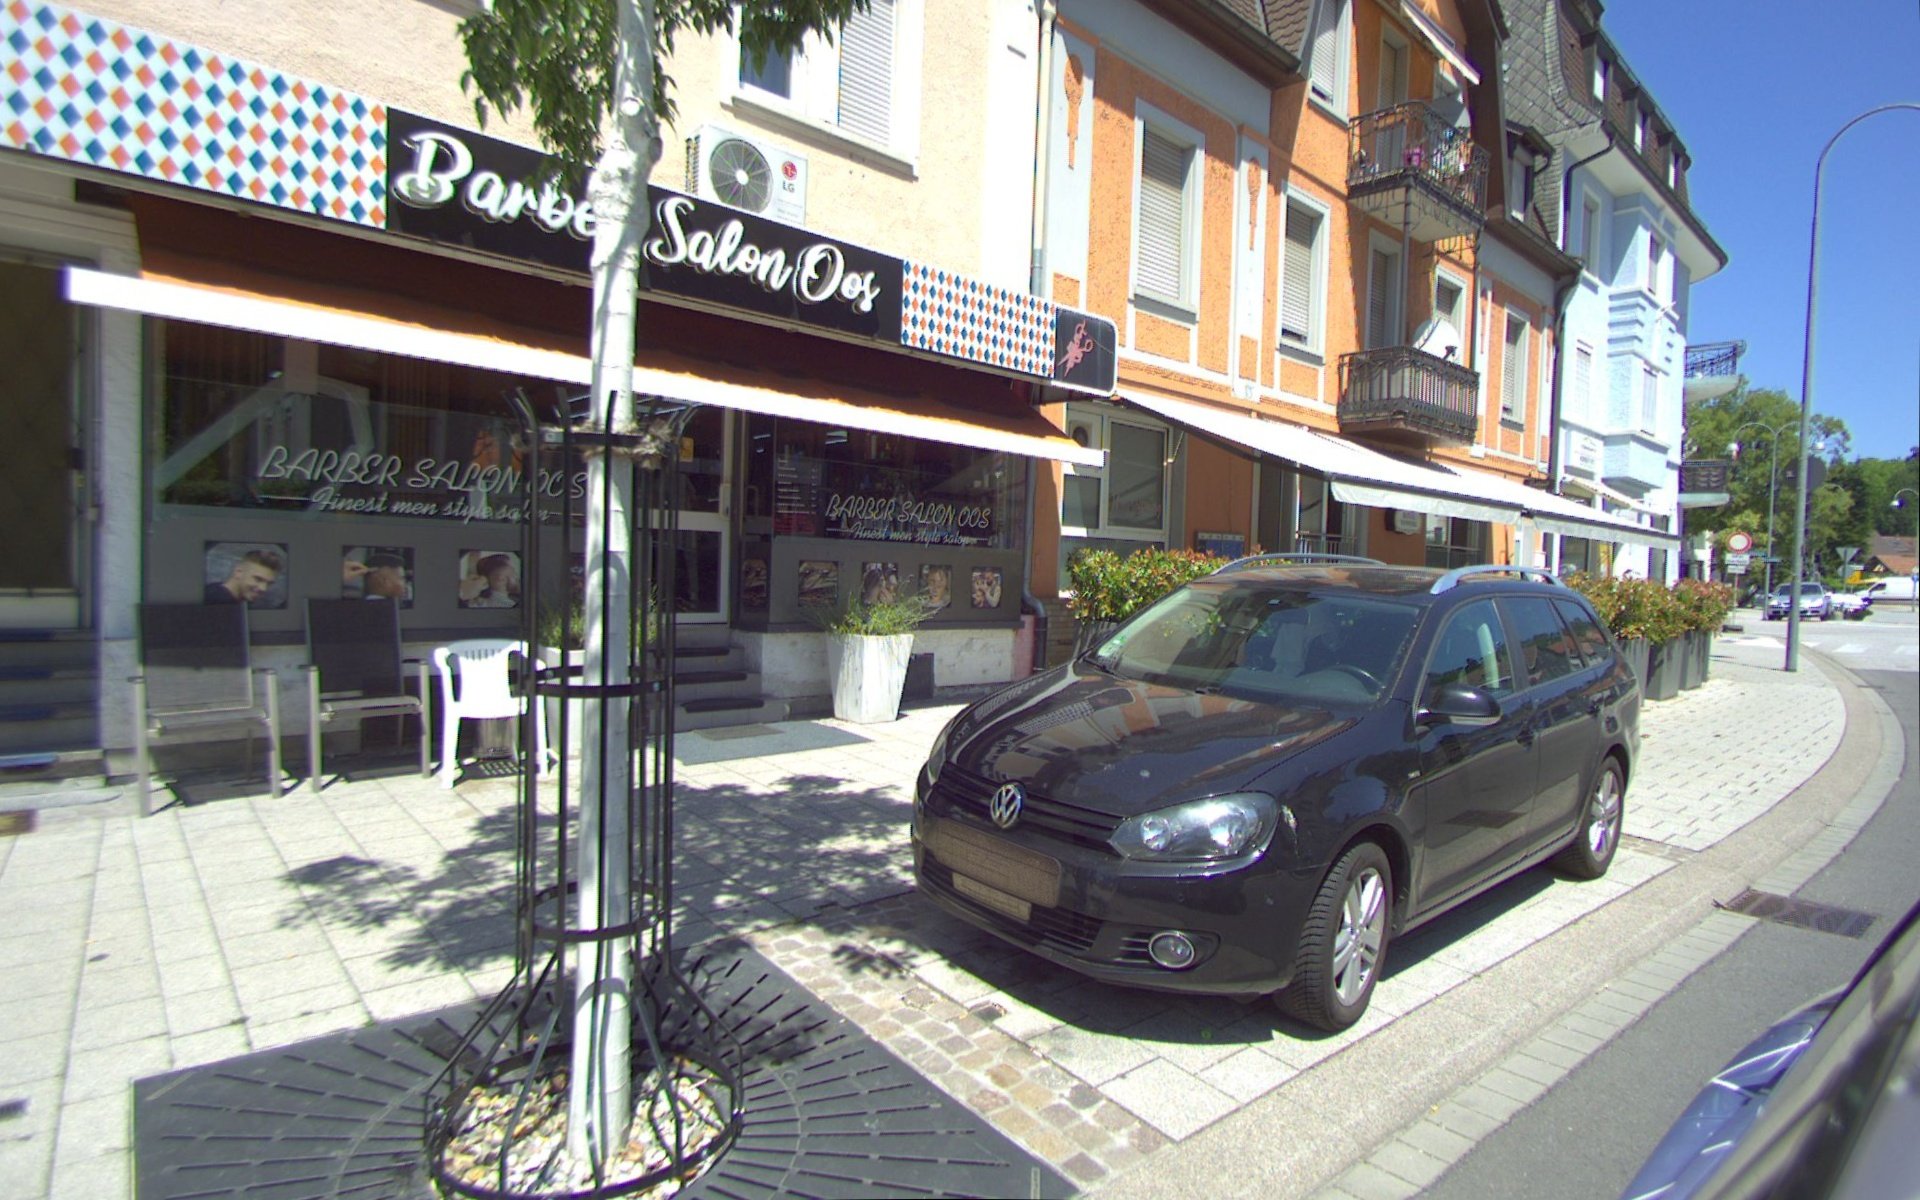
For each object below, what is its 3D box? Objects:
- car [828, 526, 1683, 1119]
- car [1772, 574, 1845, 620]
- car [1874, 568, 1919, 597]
[{"bbox_3d":[1.666,0.505,4.632,4.249,1.490,1.733,-1,4,-42],"label":"car"},{"bbox_3d":[32.104,-0.166,38.389,1.990,1.615,4.132,2,2,39],"label":"car"},{"bbox_3d":[83.035,-1.489,87.123,6.338,2.491,2.273,2,2,41],"label":"car"}]
